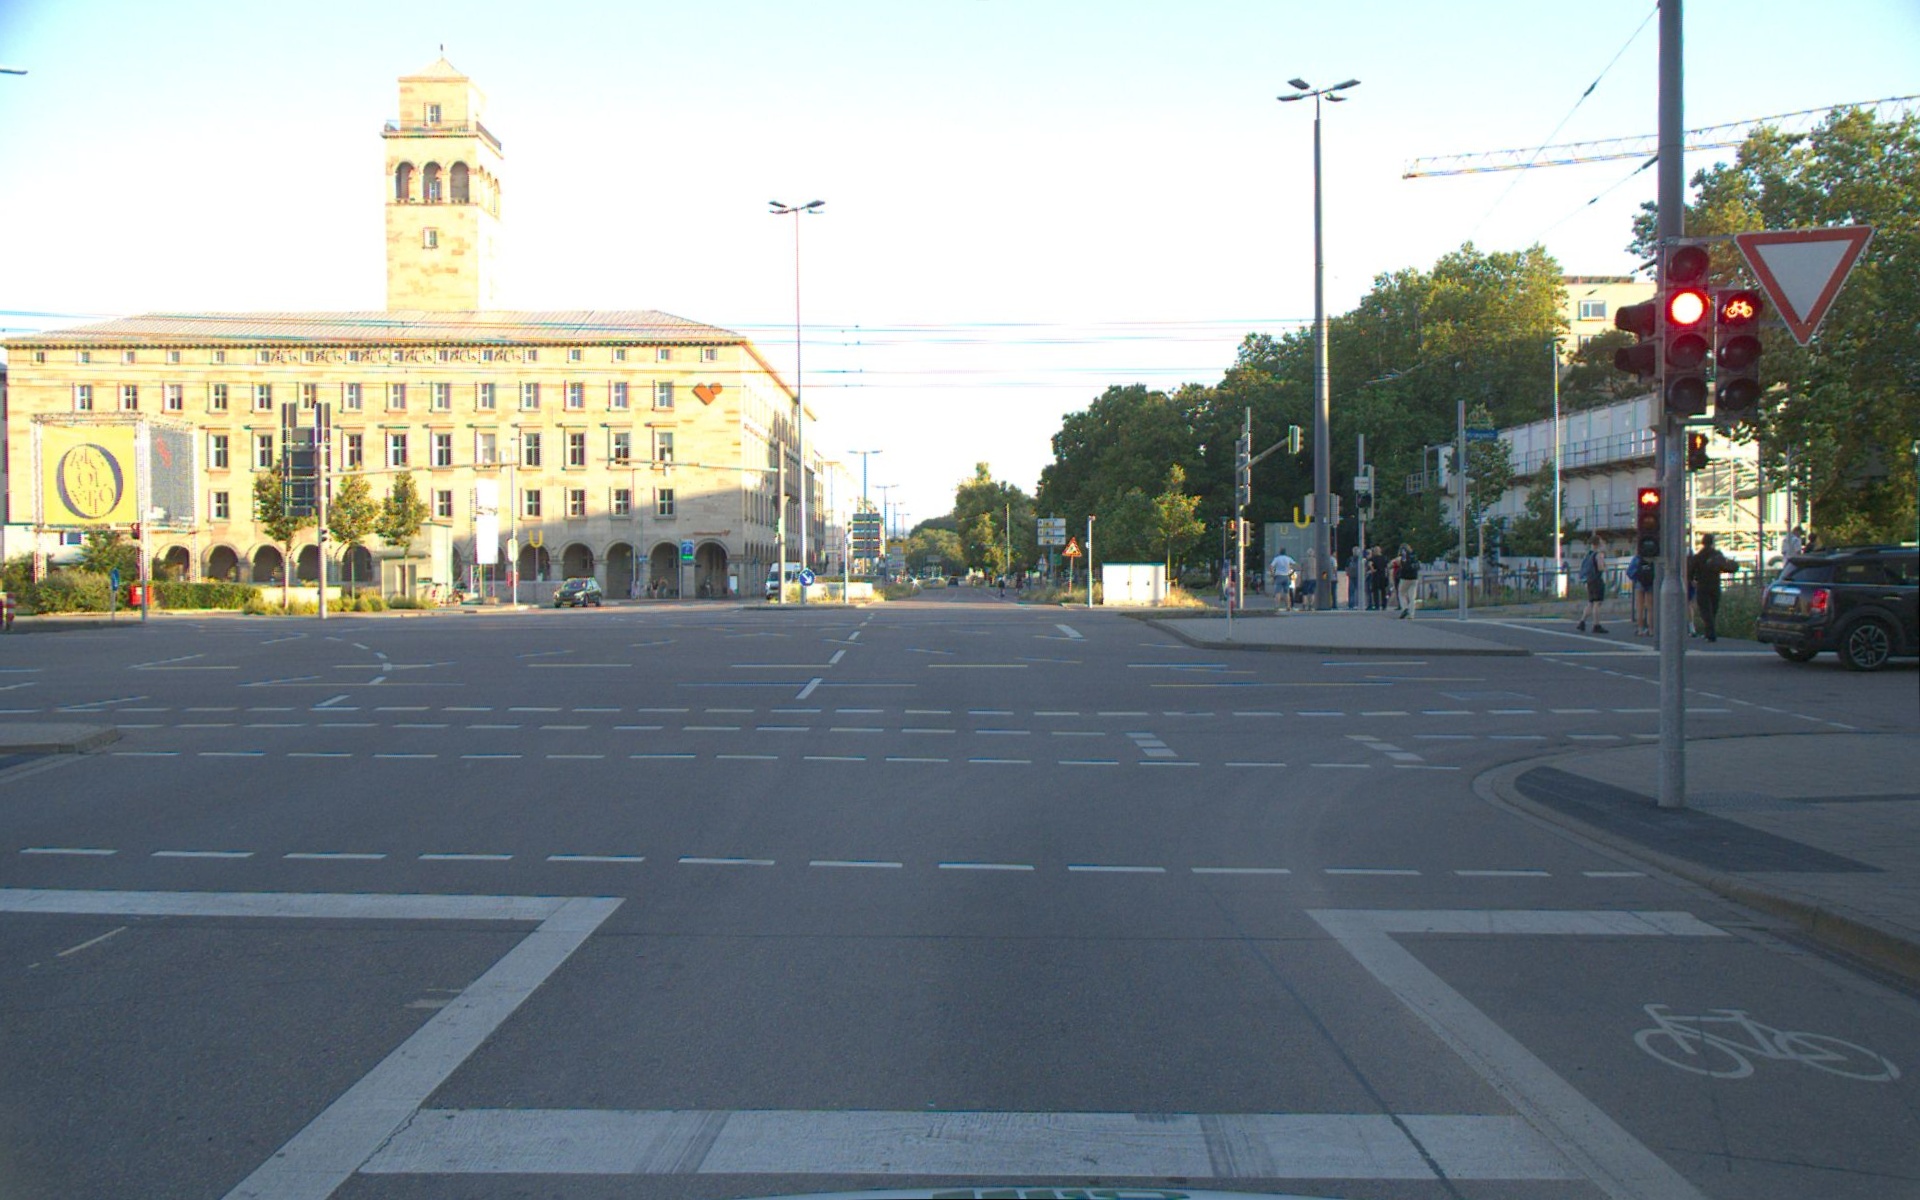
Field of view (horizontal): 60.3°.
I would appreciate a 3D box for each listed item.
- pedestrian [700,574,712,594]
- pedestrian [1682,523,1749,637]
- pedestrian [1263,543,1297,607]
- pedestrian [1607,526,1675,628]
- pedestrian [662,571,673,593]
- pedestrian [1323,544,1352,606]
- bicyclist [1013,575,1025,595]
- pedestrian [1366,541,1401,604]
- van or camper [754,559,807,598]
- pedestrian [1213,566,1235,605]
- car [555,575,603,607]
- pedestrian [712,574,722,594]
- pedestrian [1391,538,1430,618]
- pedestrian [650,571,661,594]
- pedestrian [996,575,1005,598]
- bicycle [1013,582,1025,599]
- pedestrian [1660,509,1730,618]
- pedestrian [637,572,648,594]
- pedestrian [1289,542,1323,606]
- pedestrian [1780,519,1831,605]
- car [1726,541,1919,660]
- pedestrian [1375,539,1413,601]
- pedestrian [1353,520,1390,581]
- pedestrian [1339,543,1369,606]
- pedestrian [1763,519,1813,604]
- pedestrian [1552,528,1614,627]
[{"bbox_3d":[-20.462,-1.277,133.266,0.762,1.595,0.631,-1,1,-22],"label":"pedestrian"},{"bbox_3d":[12.638,-0.342,27.651,0.879,1.862,0.685,0,1,39],"label":"pedestrian"},{"bbox_3d":[8.988,-0.710,46.504,0.792,1.760,0.688,-1,1,-2],"label":"pedestrian"},{"bbox_3d":[12.004,-0.403,29.160,0.876,1.760,0.687,-1,1,-6],"label":"pedestrian"},{"bbox_3d":[-21.238,-1.282,119.918,0.620,1.595,0.775,-1,1,1],"label":"pedestrian"},{"bbox_3d":[10.811,-0.716,47.407,0.791,1.760,0.688,-1,1,12],"label":"pedestrian"},{"bbox_3d":[3.612,-0.941,102.101,0.638,1.244,0.860,-1,1,-4],"label":"bicyclist"},{"bbox_3d":[11.941,-0.775,46.685,0.792,1.760,0.688,-1,1,-2],"label":"pedestrian"},{"bbox_3d":[-13.174,-1.589,121.590,1.845,2.808,4.933,0,1,21],"label":"van or camper"},{"bbox_3d":[12.011,-0.675,75.337,0.792,1.760,0.928,-1,1,-2],"label":"pedestrian"},{"bbox_3d":[-20.828,-0.518,90.461,1.954,1.691,3.997,-1,1,-5],"label":"car"},{"bbox_3d":[-19.665,-1.300,133.756,0.620,1.595,0.775,-1,1,1],"label":"pedestrian"},{"bbox_3d":[10.098,-0.490,37.061,0.677,1.760,0.741,-1,1,1],"label":"pedestrian"},{"bbox_3d":[-21.954,-1.268,119.254,0.620,1.595,0.775,-1,1,1],"label":"pedestrian"},{"bbox_3d":[2.532,-0.863,104.250,0.512,1.398,0.687,-1,1,-4],"label":"pedestrian"},{"bbox_3d":[3.638,-0.604,102.065,0.638,0.987,1.483,-1,1,-4],"label":"bicycle"},{"bbox_3d":[12.789,-0.632,28.791,0.875,1.872,0.687,-1,1,-4],"label":"pedestrian"},{"bbox_3d":[-23.082,-1.250,120.189,0.620,1.595,0.775,-1,1,1],"label":"pedestrian"},{"bbox_3d":[9.734,-0.737,46.536,0.792,1.760,0.688,-1,1,-2],"label":"pedestrian"},{"bbox_3d":[17.508,-0.789,34.270,0.671,1.760,0.839,-1,1,4],"label":"pedestrian"},{"bbox_3d":[13.133,-0.038,22.599,4.370,1.522,2.127,-1,1,-2],"label":"car"},{"bbox_3d":[12.409,-0.862,47.275,0.677,1.760,0.804,-1,1,-26],"label":"pedestrian"},{"bbox_3d":[11.990,-1.450,48.227,0.679,1.760,0.801,-1,1,-33],"label":"pedestrian"},{"bbox_3d":[11.133,-0.712,46.729,0.791,1.760,0.688,-1,1,12],"label":"pedestrian"},{"bbox_3d":[17.581,-0.818,35.144,0.671,1.760,0.839,-1,1,3],"label":"pedestrian"},{"bbox_3d":[11.356,-0.412,30.174,0.673,1.760,0.893,-1,1,-12],"label":"pedestrian"}]
